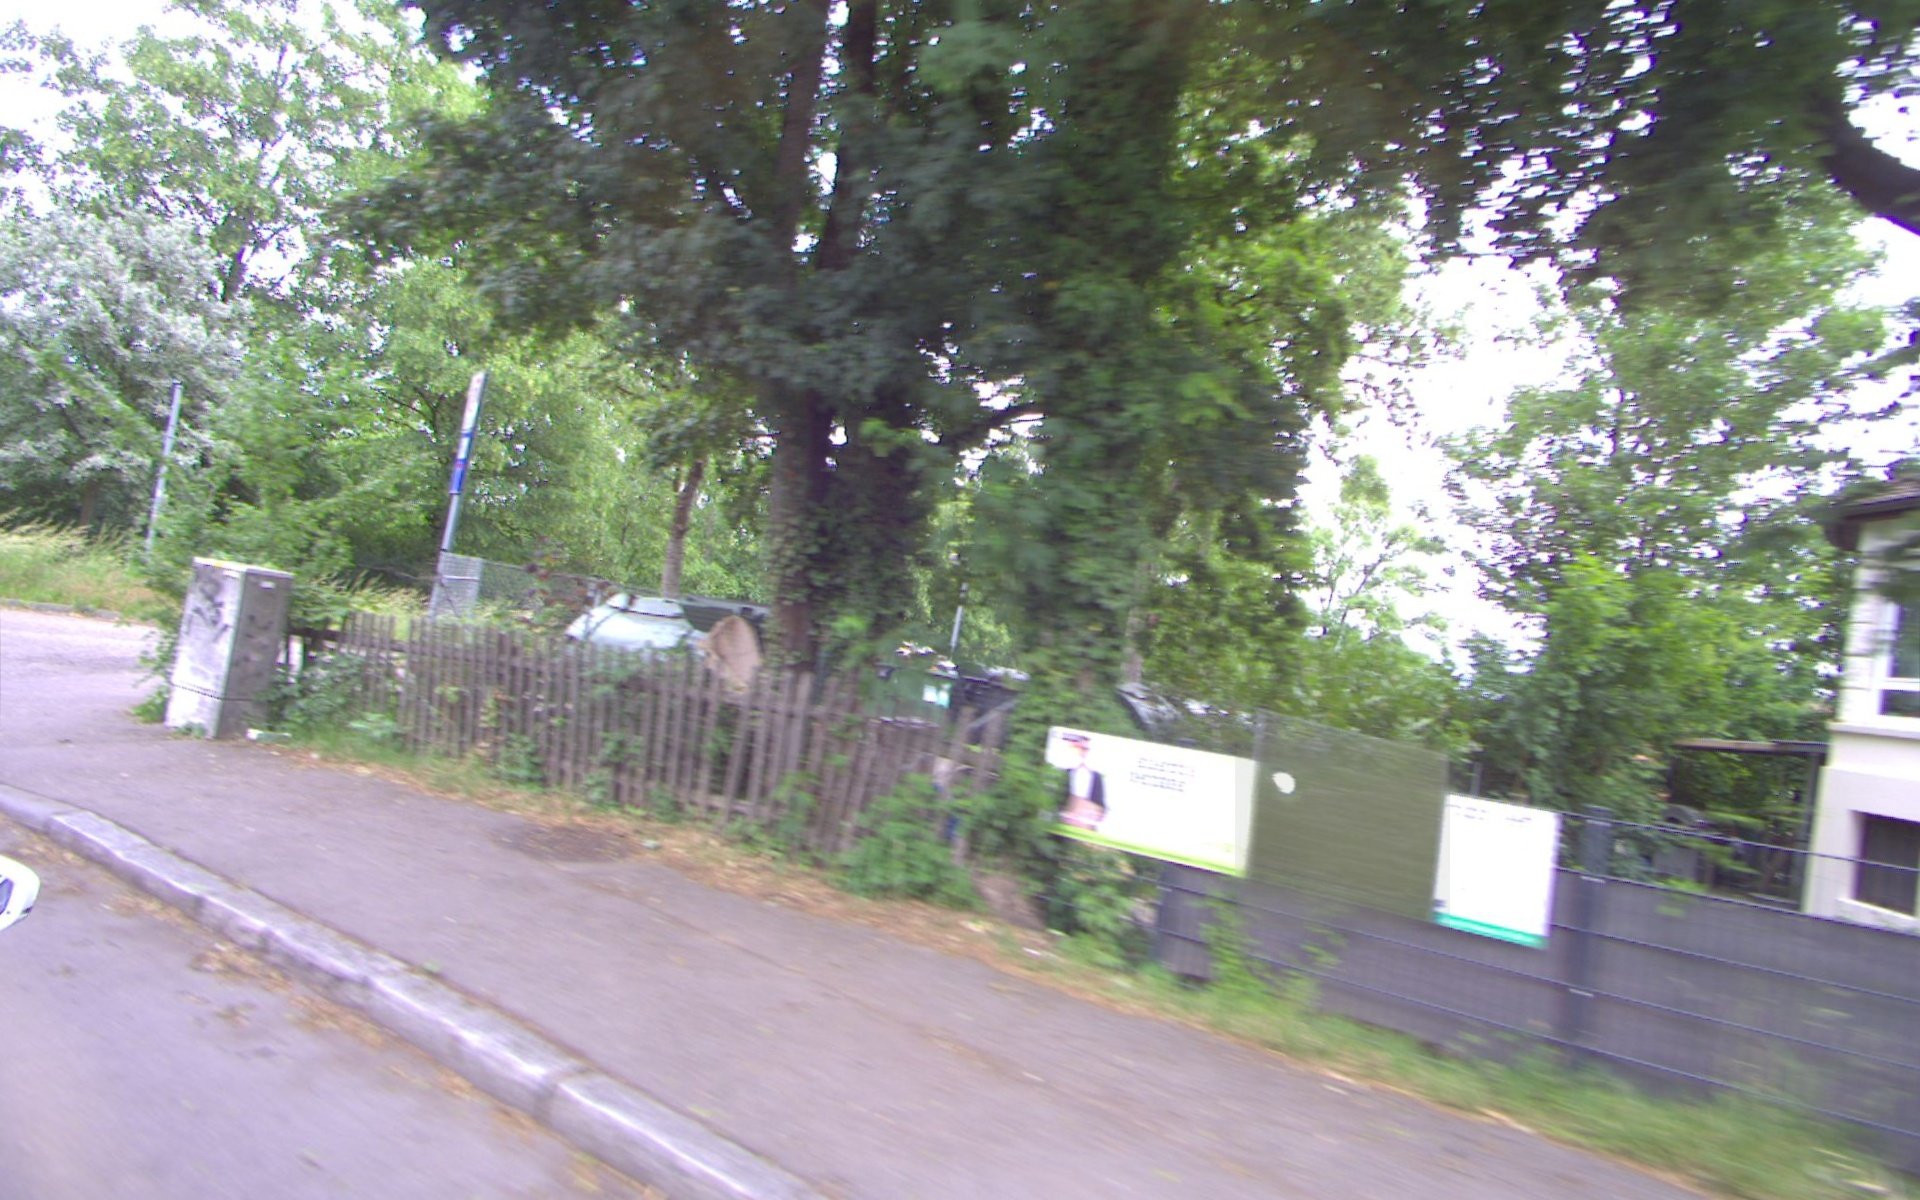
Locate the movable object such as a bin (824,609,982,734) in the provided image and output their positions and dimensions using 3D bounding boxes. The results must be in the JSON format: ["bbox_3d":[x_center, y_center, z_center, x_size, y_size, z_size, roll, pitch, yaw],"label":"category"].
[{"bbox_3d":[-0.836,1.067,14.879,1.648,1.565,1.424,6,-2,32],"label":"movable object such as a bin"}]

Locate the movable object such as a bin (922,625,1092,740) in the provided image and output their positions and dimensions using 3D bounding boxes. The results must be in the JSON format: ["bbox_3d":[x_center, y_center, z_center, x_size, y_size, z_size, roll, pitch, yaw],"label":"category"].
[{"bbox_3d":[0.843,1.392,16.551,1.423,1.565,2.894,7,-3,32],"label":"movable object such as a bin"}]

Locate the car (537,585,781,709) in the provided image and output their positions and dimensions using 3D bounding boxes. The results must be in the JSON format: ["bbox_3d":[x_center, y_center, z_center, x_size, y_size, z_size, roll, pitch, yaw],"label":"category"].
[{"bbox_3d":[-4.940,0.864,17.023,1.799,1.410,3.681,5,-8,26],"label":"car"}]

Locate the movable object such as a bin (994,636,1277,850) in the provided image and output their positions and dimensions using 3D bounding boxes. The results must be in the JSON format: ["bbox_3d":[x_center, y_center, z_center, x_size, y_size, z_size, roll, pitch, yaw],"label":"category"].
[{"bbox_3d":[1.944,1.483,10.936,2.174,1.807,2.106,6,-3,35],"label":"movable object such as a bin"}]

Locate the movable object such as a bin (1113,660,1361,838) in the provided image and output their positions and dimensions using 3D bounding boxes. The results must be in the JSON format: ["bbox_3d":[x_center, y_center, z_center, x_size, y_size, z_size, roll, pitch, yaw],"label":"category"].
[{"bbox_3d":[3.574,1.827,12.792,2.174,1.732,2.495,6,-3,35],"label":"movable object such as a bin"}]
